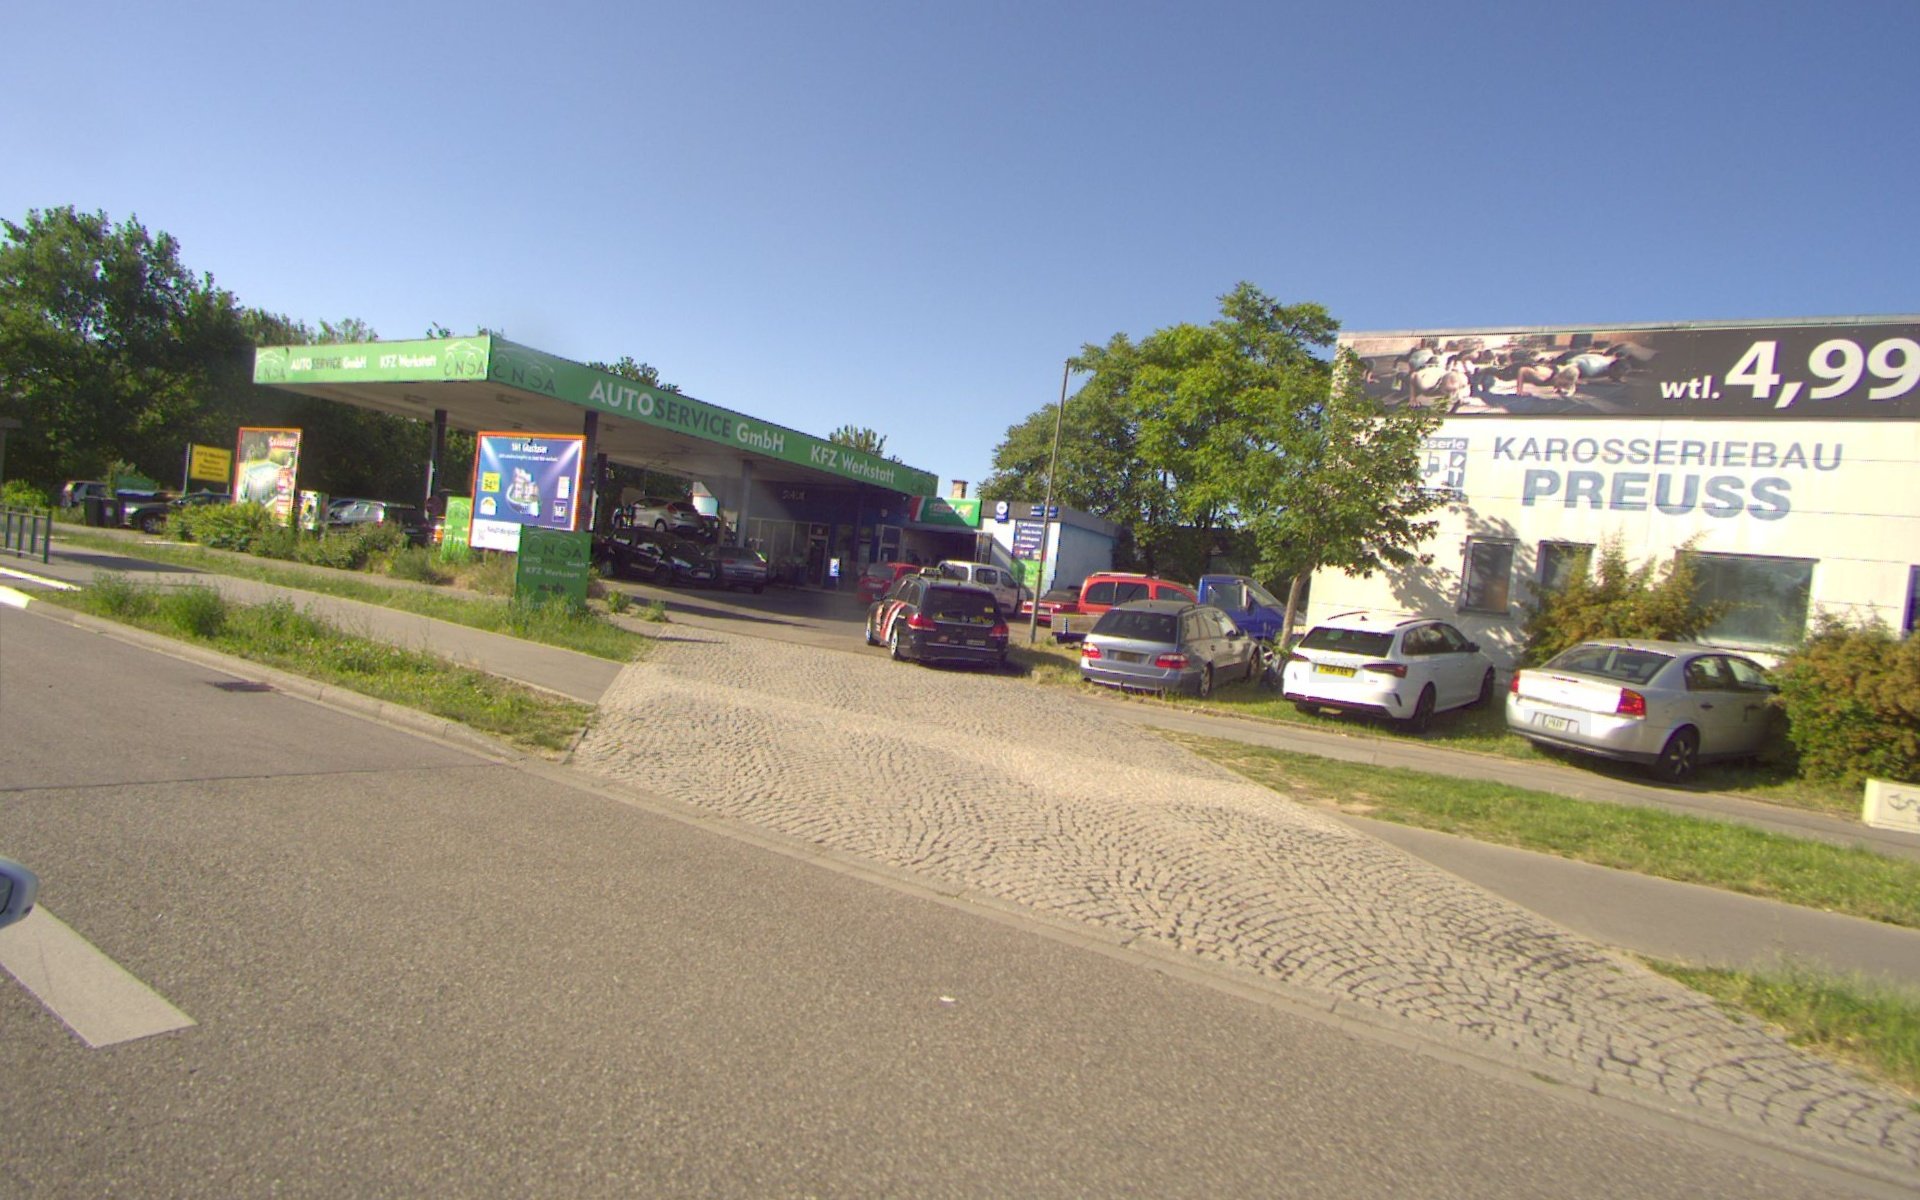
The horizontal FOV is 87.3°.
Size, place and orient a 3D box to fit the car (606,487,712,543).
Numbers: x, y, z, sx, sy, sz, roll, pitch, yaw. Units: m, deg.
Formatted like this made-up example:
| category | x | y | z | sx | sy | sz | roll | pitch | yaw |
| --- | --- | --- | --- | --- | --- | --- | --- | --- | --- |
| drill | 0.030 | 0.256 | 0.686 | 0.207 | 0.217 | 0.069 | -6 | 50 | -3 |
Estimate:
| category | x | y | z | sx | sy | sz | roll | pitch | yaw |
| --- | --- | --- | --- | --- | --- | --- | --- | --- | --- |
| car | -11.813 | -3.343 | 39.490 | 3.716 | 1.777 | 1.919 | 6 | 1 | 33 |

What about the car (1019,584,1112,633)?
| category | x | y | z | sx | sy | sz | roll | pitch | yaw |
| --- | --- | --- | --- | --- | --- | --- | --- | --- | --- |
| car | 3.558 | 0.225 | 33.440 | 1.638 | 1.395 | 3.760 | 4 | 4 | 31 |

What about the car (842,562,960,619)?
| category | x | y | z | sx | sy | sz | roll | pitch | yaw |
| --- | --- | --- | --- | --- | --- | --- | --- | --- | --- |
| car | -1.770 | -0.351 | 31.055 | 1.818 | 1.570 | 3.760 | 4 | 4 | 31 |

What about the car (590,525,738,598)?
| category | x | y | z | sx | sy | sz | roll | pitch | yaw |
| --- | --- | --- | --- | --- | --- | --- | --- | --- | --- |
| car | -8.893 | -1.164 | 30.149 | 3.934 | 1.667 | 1.997 | 6 | -1 | 32 |

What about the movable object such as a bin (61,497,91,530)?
| category | x | y | z | sx | sy | sz | roll | pitch | yaw |
| --- | --- | --- | --- | --- | --- | --- | --- | --- | --- |
| movable object such as a bin | -31.792 | -3.117 | 36.186 | 0.501 | 1.088 | 0.581 | 7 | 1 | -10 |

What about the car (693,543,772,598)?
| category | x | y | z | sx | sy | sz | roll | pitch | yaw |
| --- | --- | --- | --- | --- | --- | --- | --- | --- | --- |
| car | -7.294 | -0.965 | 32.018 | 1.671 | 1.438 | 3.681 | 8 | 0 | -24 |

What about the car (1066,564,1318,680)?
| category | x | y | z | sx | sy | sz | roll | pitch | yaw |
| --- | --- | --- | --- | --- | --- | --- | --- | --- | --- |
| car | 4.604 | 0.362 | 20.219 | 4.518 | 1.808 | 1.682 | 6 | 4 | 29 |

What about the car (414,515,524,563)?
| category | x | y | z | sx | sy | sz | roll | pitch | yaw |
| --- | --- | --- | --- | --- | --- | --- | --- | --- | --- |
| car | -21.112 | -2.598 | 43.391 | 1.668 | 1.536 | 3.993 | 6 | 1 | 27 |

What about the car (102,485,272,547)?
| category | x | y | z | sx | sy | sz | roll | pitch | yaw |
| --- | --- | --- | --- | --- | --- | --- | --- | --- | --- |
| car | -27.261 | -2.946 | 35.686 | 4.505 | 1.662 | 1.787 | 4 | 2 | -29 |

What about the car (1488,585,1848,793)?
| category | x | y | z | sx | sy | sz | roll | pitch | yaw |
| --- | --- | --- | --- | --- | --- | --- | --- | --- | --- |
| car | 8.569 | 0.927 | 12.180 | 3.944 | 2.045 | 1.673 | 0 | 7 | -26 |

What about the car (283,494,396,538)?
| category | x | y | z | sx | sy | sz | roll | pitch | yaw |
| --- | --- | --- | --- | --- | --- | --- | --- | --- | --- |
| car | -28.636 | -3.877 | 46.528 | 1.706 | 1.551 | 4.036 | 7 | 2 | 33 |

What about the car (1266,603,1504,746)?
| category | x | y | z | sx | sy | sz | roll | pitch | yaw |
| --- | --- | --- | --- | --- | --- | --- | --- | --- | --- |
| car | 6.141 | 0.923 | 14.354 | 1.702 | 1.474 | 3.898 | 8 | 8 | 44 |

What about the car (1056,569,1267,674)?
| category | x | y | z | sx | sy | sz | roll | pitch | yaw |
| --- | --- | --- | --- | --- | --- | --- | --- | --- | --- |
| car | 4.514 | 0.414 | 22.681 | 4.145 | 1.887 | 1.893 | 6 | 3 | 29 |

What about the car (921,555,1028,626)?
| category | x | y | z | sx | sy | sz | roll | pitch | yaw |
| --- | --- | --- | --- | --- | --- | --- | --- | --- | --- |
| car | 0.562 | -0.292 | 34.749 | 1.892 | 1.929 | 3.697 | 7 | -1 | 31 |

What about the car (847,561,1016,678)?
| category | x | y | z | sx | sy | sz | roll | pitch | yaw |
| --- | --- | --- | --- | --- | --- | --- | --- | --- | --- |
| car | -0.689 | 0.233 | 17.787 | 1.870 | 1.552 | 4.817 | 5 | 2 | -15 |

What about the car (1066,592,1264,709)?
| category | x | y | z | sx | sy | sz | roll | pitch | yaw |
| --- | --- | --- | --- | --- | --- | --- | --- | --- | --- |
| car | 3.338 | 0.694 | 15.922 | 1.811 | 1.310 | 3.598 | 6 | 7 | 33 |

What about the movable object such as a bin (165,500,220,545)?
| category | x | y | z | sx | sy | sz | roll | pitch | yaw |
| --- | --- | --- | --- | --- | --- | --- | --- | --- | --- |
| movable object such as a bin | -28.499 | -2.874 | 37.375 | 1.204 | 1.446 | 0.986 | 6 | 1 | -11 |

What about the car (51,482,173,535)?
| category | x | y | z | sx | sy | sz | roll | pitch | yaw |
| --- | --- | --- | --- | --- | --- | --- | --- | --- | --- |
| car | -34.012 | -3.658 | 40.423 | 1.743 | 1.503 | 3.289 | 7 | -2 | 33 |

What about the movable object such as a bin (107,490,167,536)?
| category | x | y | z | sx | sy | sz | roll | pitch | yaw |
| --- | --- | --- | --- | --- | --- | --- | --- | --- | --- |
| movable object such as a bin | -29.916 | -3.157 | 36.574 | 1.240 | 1.446 | 0.987 | 7 | 0 | -11 |

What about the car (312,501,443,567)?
| category | x | y | z | sx | sy | sz | roll | pitch | yaw |
| --- | --- | --- | --- | --- | --- | --- | --- | --- | --- |
| car | -18.286 | -2.094 | 31.517 | 4.179 | 1.592 | 1.746 | 7 | 1 | 33 |

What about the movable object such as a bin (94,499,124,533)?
| category | x | y | z | sx | sy | sz | roll | pitch | yaw |
| --- | --- | --- | --- | --- | --- | --- | --- | --- | --- |
| movable object such as a bin | -30.864 | -3.034 | 36.485 | 0.501 | 1.135 | 0.581 | 6 | 1 | -10 |
